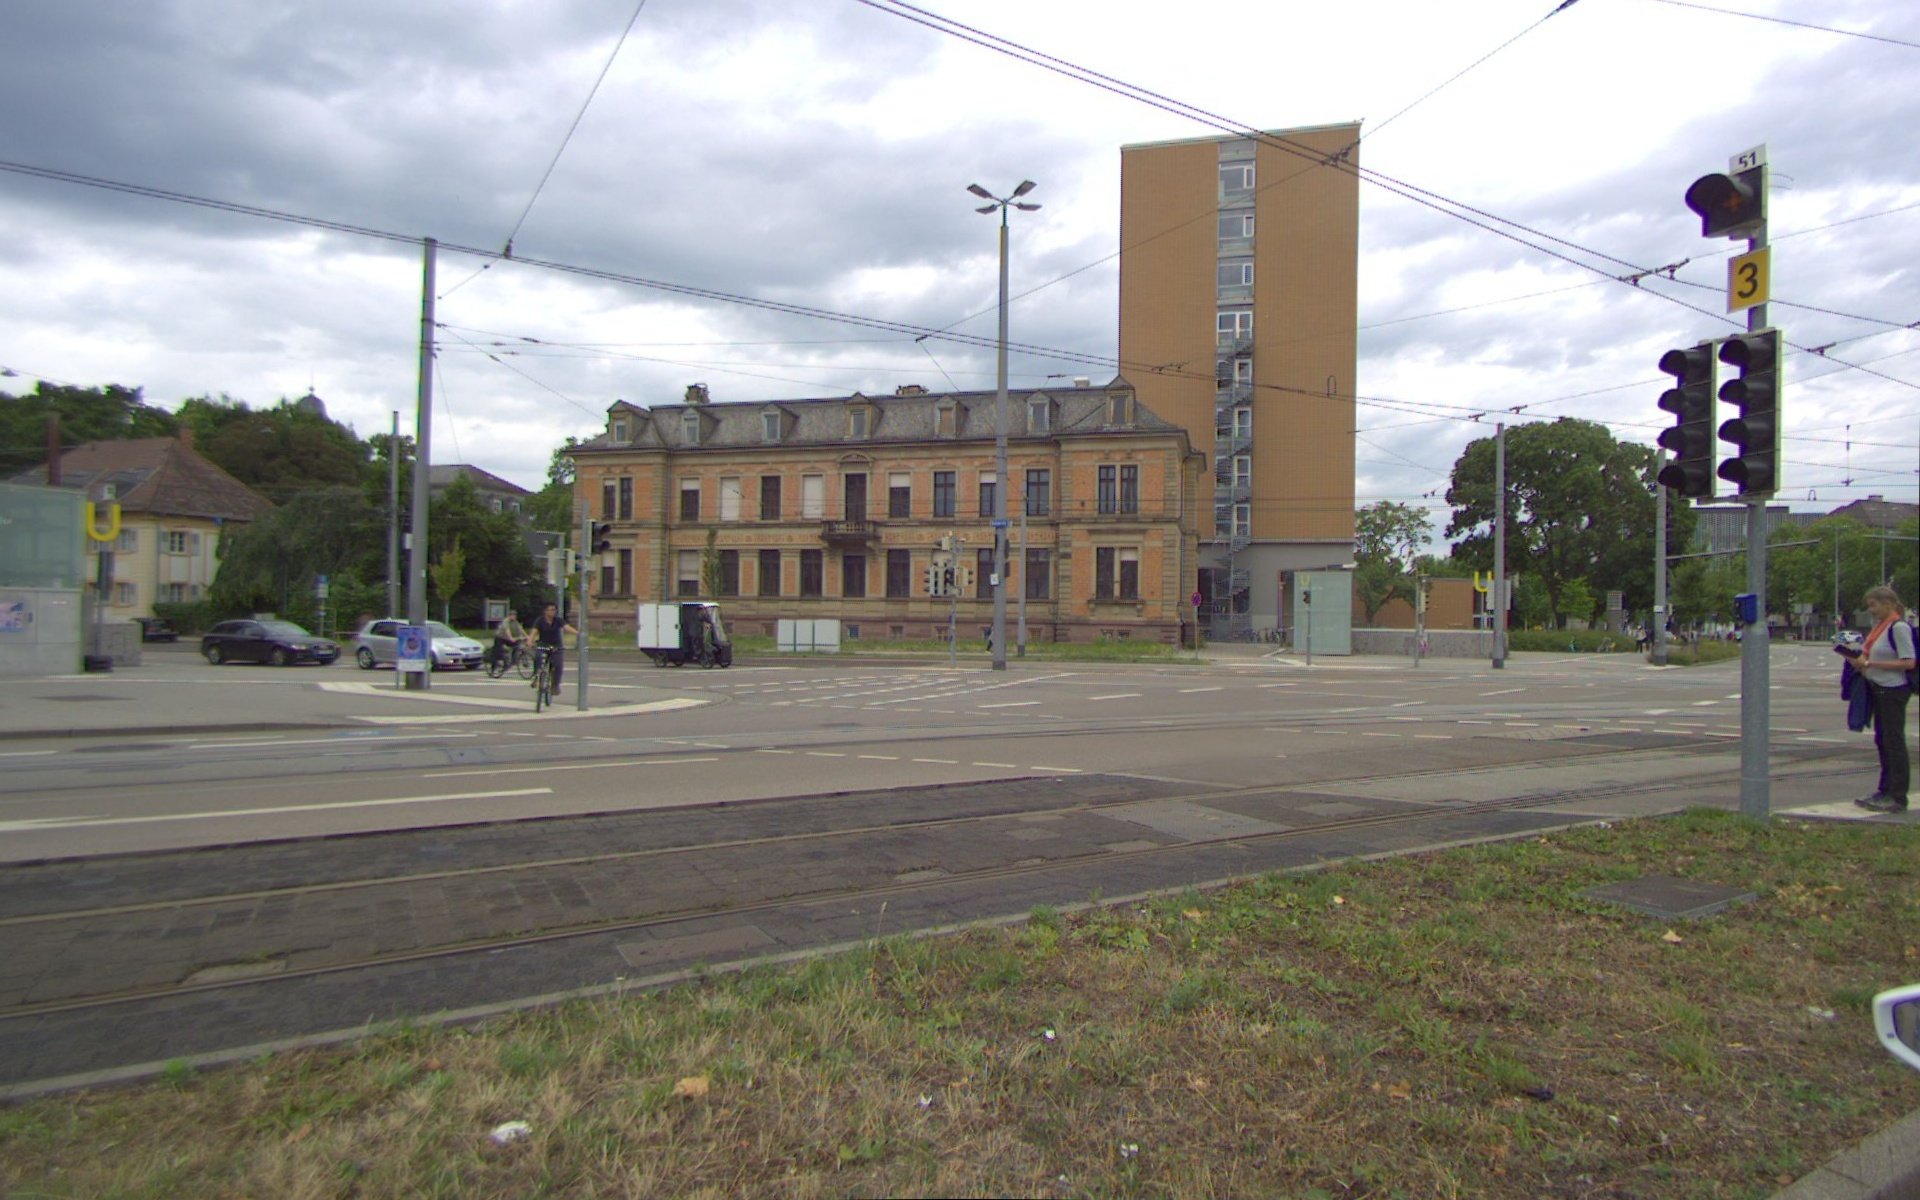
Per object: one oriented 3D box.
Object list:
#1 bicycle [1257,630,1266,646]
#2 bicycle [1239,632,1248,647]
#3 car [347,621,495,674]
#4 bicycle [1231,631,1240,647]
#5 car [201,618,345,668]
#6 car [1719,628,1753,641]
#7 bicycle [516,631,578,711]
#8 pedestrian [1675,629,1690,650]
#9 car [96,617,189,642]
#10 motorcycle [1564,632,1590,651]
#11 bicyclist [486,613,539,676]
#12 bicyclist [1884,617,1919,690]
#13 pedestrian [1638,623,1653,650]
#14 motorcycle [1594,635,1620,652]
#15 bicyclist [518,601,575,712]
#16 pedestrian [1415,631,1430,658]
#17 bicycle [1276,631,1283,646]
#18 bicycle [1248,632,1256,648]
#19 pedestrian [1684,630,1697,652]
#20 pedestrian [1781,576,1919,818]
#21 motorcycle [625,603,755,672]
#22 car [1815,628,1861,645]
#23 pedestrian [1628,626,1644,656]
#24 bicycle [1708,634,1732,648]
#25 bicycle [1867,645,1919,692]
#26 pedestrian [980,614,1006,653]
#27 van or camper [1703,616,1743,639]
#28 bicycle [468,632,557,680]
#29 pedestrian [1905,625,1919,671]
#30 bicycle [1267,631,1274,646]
[{"bbox_3d":[22.203,2.803,73.974,0.561,1.120,1.428,1,-1,18],"label":"bicycle"},{"bbox_3d":[20.997,2.909,74.310,0.561,1.120,1.428,1,-1,18],"label":"bicycle"},{"bbox_3d":[-16.239,1.381,30.266,4.081,1.473,1.761,0,-1,23],"label":"car"},{"bbox_3d":[20.433,2.907,74.484,0.561,1.120,1.428,1,-1,18],"label":"bicycle"},{"bbox_3d":[-22.037,1.352,32.236,4.061,1.468,1.697,1,-1,18],"label":"car"},{"bbox_3d":[95.292,4.265,123.385,1.746,1.483,4.002,1,-1,14],"label":"car"},{"bbox_3d":[-7.048,1.169,17.096,0.805,1.259,1.986,0,-2,-27],"label":"bicycle"},{"bbox_3d":[67.963,3.718,94.511,0.787,2.007,0.874,3,-2,-31],"label":"pedestrian"},{"bbox_3d":[-45.028,1.594,55.361,3.919,1.305,1.936,1,-1,12],"label":"car"},{"bbox_3d":[41.587,2.805,67.721,1.443,1.285,0.512,1,-1,14],"label":"motorcycle"},{"bbox_3d":[-11.850,1.166,26.613,0.899,1.644,0.855,0,-1,20],"label":"bicyclist"},{"bbox_3d":[25.655,1.438,26.960,0.977,1.923,0.778,1,-1,-1],"label":"bicyclist"},{"bbox_3d":[52.276,2.795,76.592,0.781,2.007,0.880,1,-2,26],"label":"pedestrian"},{"bbox_3d":[43.690,2.948,67.847,1.716,1.126,0.510,1,-1,-17],"label":"motorcycle"},{"bbox_3d":[-7.079,0.938,17.166,0.805,1.822,1.022,0,0,-28],"label":"bicyclist"},{"bbox_3d":[23.219,2.233,50.406,0.562,1.353,0.499,1,-1,10],"label":"pedestrian"},{"bbox_3d":[23.401,2.798,73.651,0.472,1.063,1.428,1,-1,18],"label":"bicycle"},{"bbox_3d":[21.559,2.927,74.140,0.561,1.120,1.428,1,-1,18],"label":"bicycle"},{"bbox_3d":[67.649,3.807,93.021,0.868,2.007,0.792,0,-2,42],"label":"pedestrian"},{"bbox_3d":[7.722,0.786,8.412,1.082,1.932,0.736,1,0,18],"label":"pedestrian"},{"bbox_3d":[-8.475,1.134,31.577,3.614,2.040,1.696,1,-1,19],"label":"motorcycle"},{"bbox_3d":[102.230,4.244,117.002,1.683,1.795,3.998,1,-1,-4],"label":"car"},{"bbox_3d":[46.884,2.850,69.630,0.781,2.007,0.880,1,-2,26],"label":"pedestrian"},{"bbox_3d":[70.997,3.821,93.799,2.699,1.194,0.934,1,-1,-32],"label":"bicycle"},{"bbox_3d":[25.686,1.840,26.968,1.993,1.200,0.777,1,-1,-2],"label":"bicycle"},{"bbox_3d":[1.544,1.541,46.729,1.104,1.786,0.759,1,-1,8],"label":"pedestrian"},{"bbox_3d":[108.260,3.836,142.523,2.347,3.165,5.507,1,-1,12],"label":"van or camper"},{"bbox_3d":[-11.860,1.465,26.606,2.154,1.224,0.857,0,-2,20],"label":"bicycle"},{"bbox_3d":[43.541,2.169,45.528,1.009,2.040,0.842,0,-1,41],"label":"pedestrian"},{"bbox_3d":[22.827,2.812,73.775,0.500,1.063,1.428,1,-1,18],"label":"bicycle"}]
